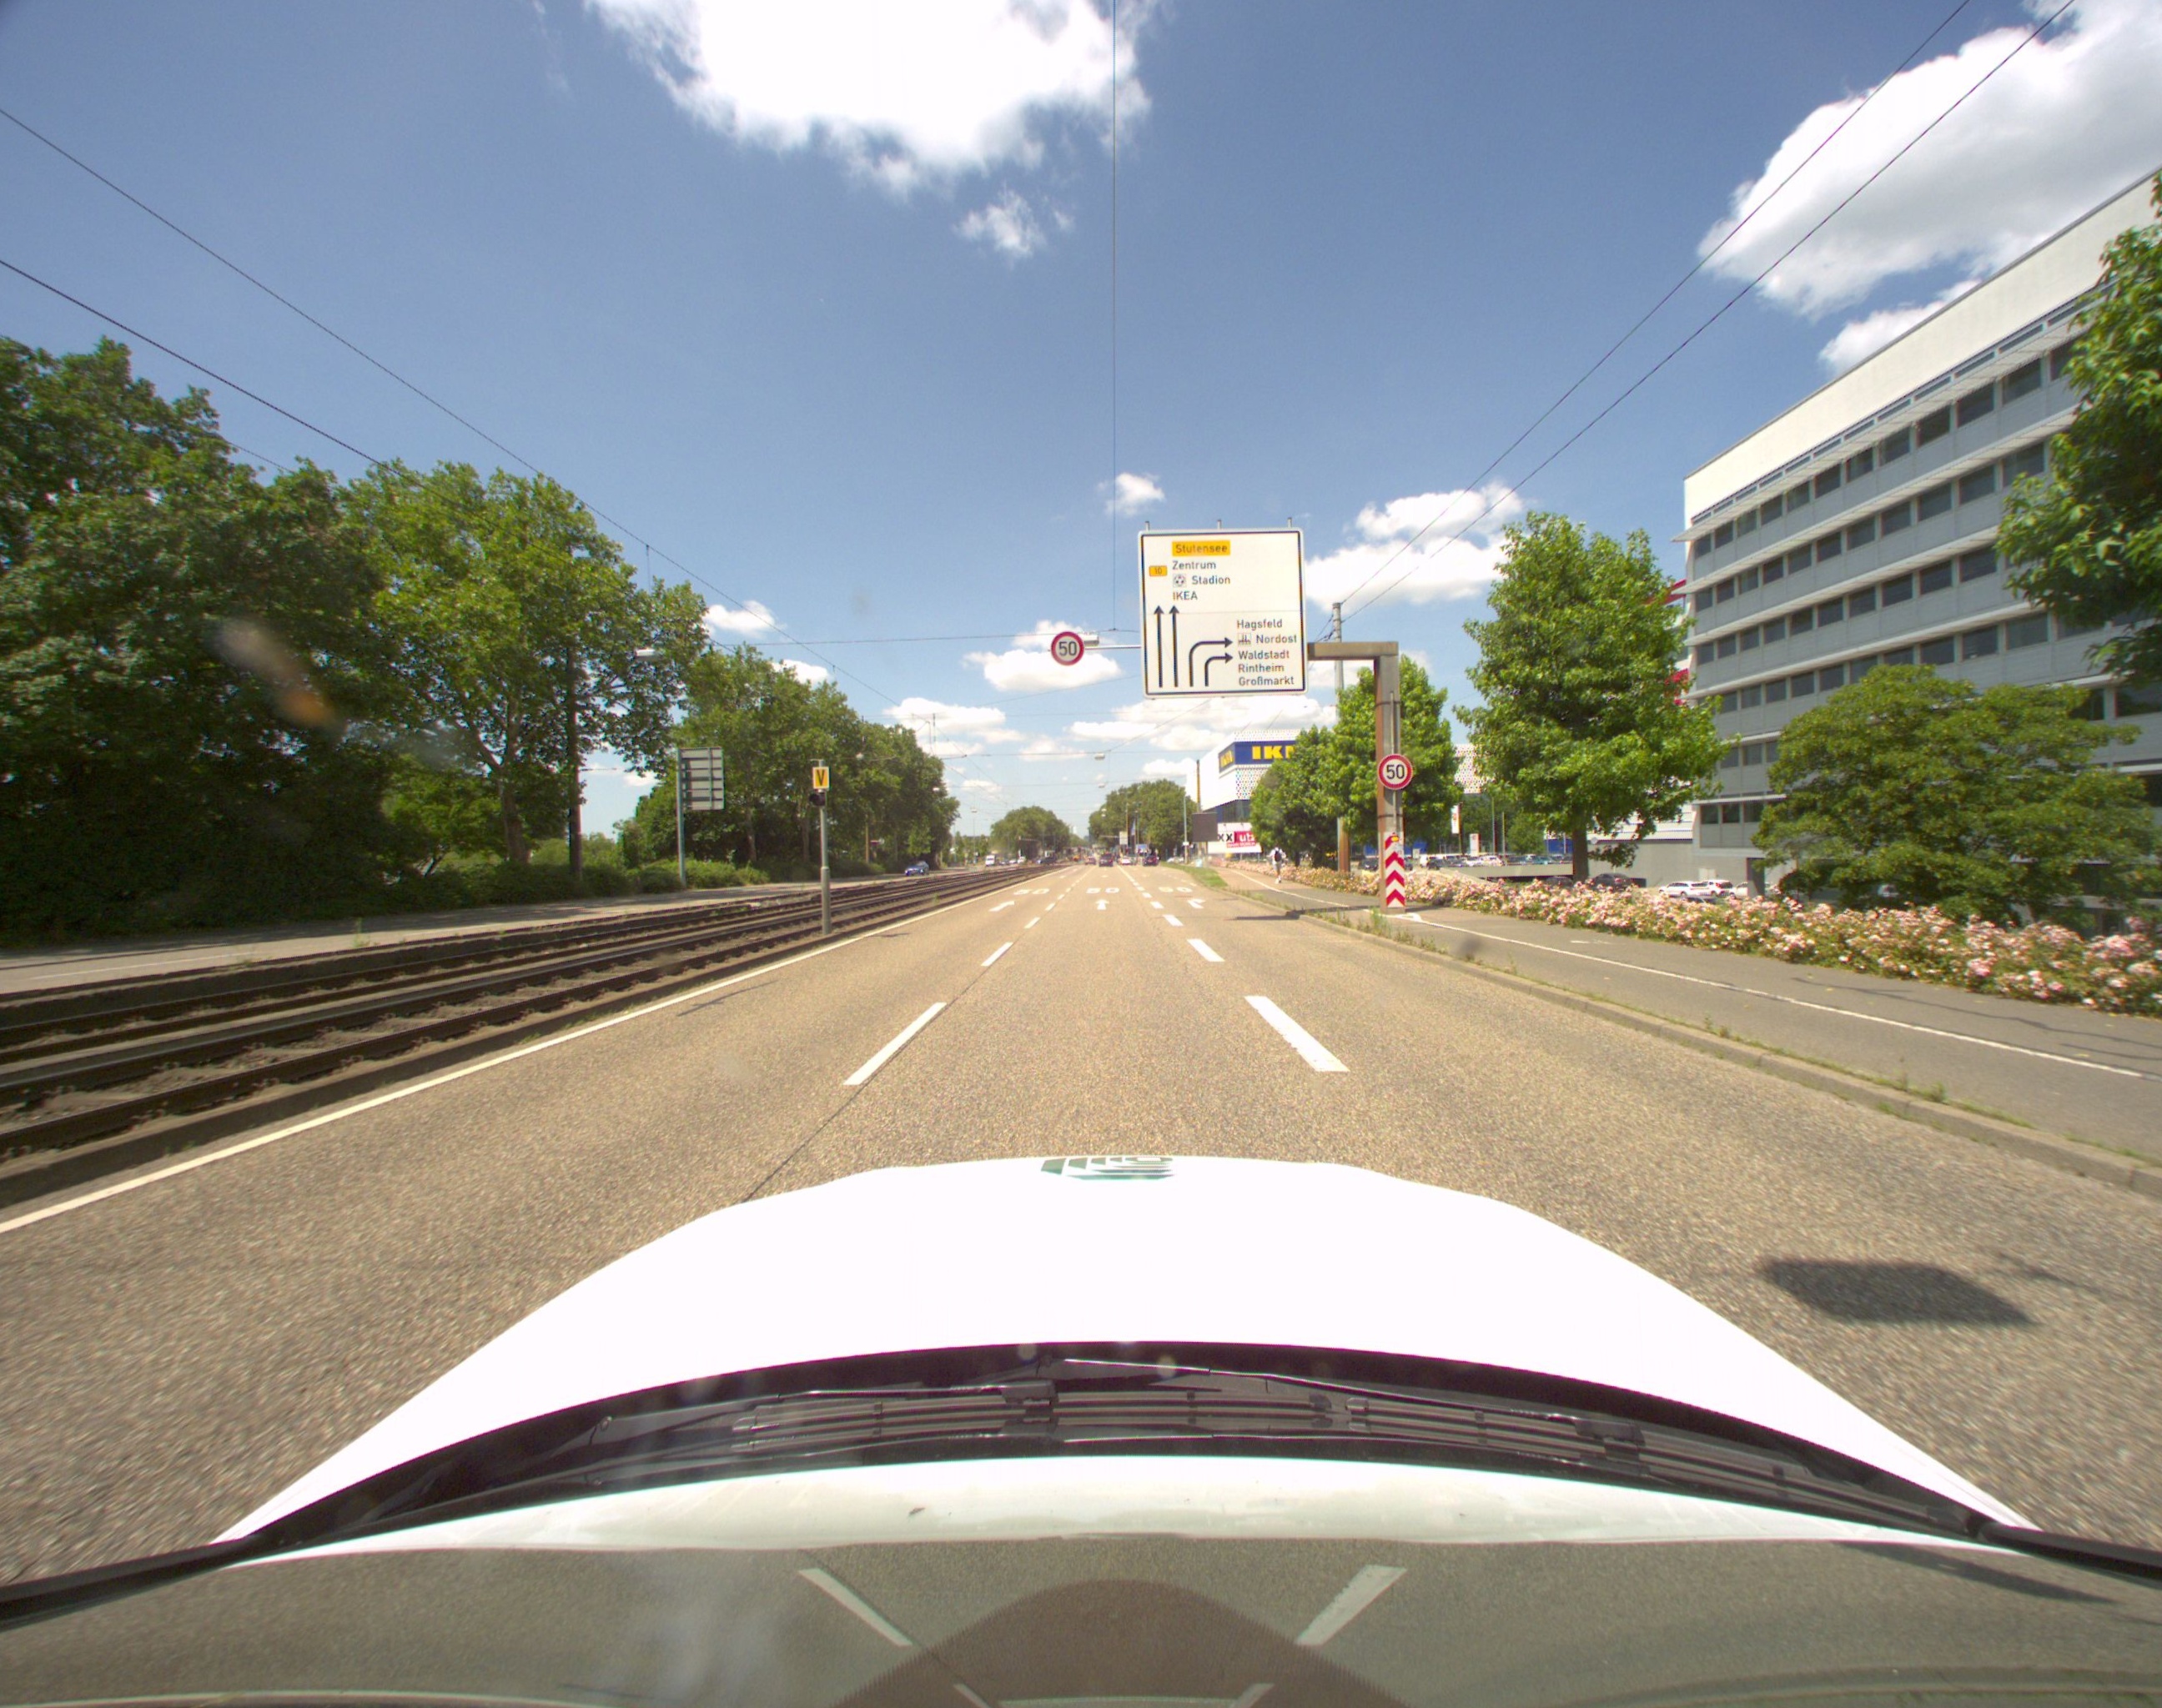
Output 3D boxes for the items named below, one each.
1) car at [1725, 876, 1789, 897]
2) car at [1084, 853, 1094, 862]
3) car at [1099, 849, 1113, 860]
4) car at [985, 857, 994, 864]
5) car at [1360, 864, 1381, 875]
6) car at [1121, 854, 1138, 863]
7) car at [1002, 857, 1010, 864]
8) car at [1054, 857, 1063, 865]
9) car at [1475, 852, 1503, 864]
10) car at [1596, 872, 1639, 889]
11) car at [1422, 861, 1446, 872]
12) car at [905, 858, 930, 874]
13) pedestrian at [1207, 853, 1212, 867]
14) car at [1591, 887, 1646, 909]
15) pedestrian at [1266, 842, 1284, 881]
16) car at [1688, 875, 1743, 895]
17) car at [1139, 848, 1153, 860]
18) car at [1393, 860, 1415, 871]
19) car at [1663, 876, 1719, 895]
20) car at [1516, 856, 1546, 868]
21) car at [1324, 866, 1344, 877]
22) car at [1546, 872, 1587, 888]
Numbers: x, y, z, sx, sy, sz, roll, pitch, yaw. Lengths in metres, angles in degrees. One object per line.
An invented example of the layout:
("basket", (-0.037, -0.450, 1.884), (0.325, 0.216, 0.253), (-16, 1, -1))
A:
("car", (53.986, 2.558, 65.155), (1.734, 1.482, 4.241), (0, 0, 2))
("car", (1.383, 0.631, 148.011), (1.836, 1.549, 3.776), (0, 0, 0))
("car", (3.499, 0.120, 115.044), (1.869, 1.539, 3.777), (0, 0, 1))
("car", (-21.468, 1.426, 191.204), (1.617, 1.549, 3.705), (0, 0, 1))
("car", (40.226, 2.133, 113.276), (1.566, 1.482, 3.888), (0, 0, 0))
("car", (8.731, 0.793, 146.047), (1.670, 1.549, 4.006), (0, 0, 24))
("car", (-17.659, 1.541, 192.139), (1.617, 1.549, 3.705), (0, 0, 1))
("car", (-4.573, 1.331, 165.445), (1.836, 1.549, 3.776), (0, 0, 0))
("car", (51.846, 0.522, 103.587), (1.566, 1.482, 3.888), (0, 0, 0))
("car", (52.161, 2.584, 79.233), (1.734, 1.482, 3.966), (0, 0, 2))
("car", (48.913, 1.709, 112.866), (1.566, 1.482, 3.888), (0, 0, 0))
("car", (-16.323, 1.174, 81.567), (1.639, 1.550, 4.215), (0, 0, 0))
("pedestrian", (15.714, 0.724, 99.469), (0.578, 1.792, 0.589), (0, 0, -1))
("car", (41.992, 3.396, 63.724), (1.734, 1.482, 4.089), (0, 0, 2))
("pedestrian", (8.915, 0.339, 37.387), (0.666, 1.792, 0.925), (0, 0, 3))
("car", (54.091, 2.615, 69.462), (1.734, 1.482, 3.966), (0, 0, 2))
("car", (9.621, -0.030, 120.224), (1.892, 1.805, 3.979), (0, 0, 2))
("car", (44.813, 1.572, 112.958), (1.566, 1.482, 3.888), (0, 0, 0))
("car", (51.414, 2.628, 68.743), (1.734, 1.482, 4.241), (0, 0, 2))
("car", (56.555, 1.004, 102.425), (1.566, 1.482, 3.888), (0, 0, 0))
("car", (35.104, 2.399, 112.893), (1.566, 1.482, 3.888), (0, 0, 0))
("car", (47.739, 2.555, 80.176), (1.734, 1.482, 3.966), (0, 0, 2))
